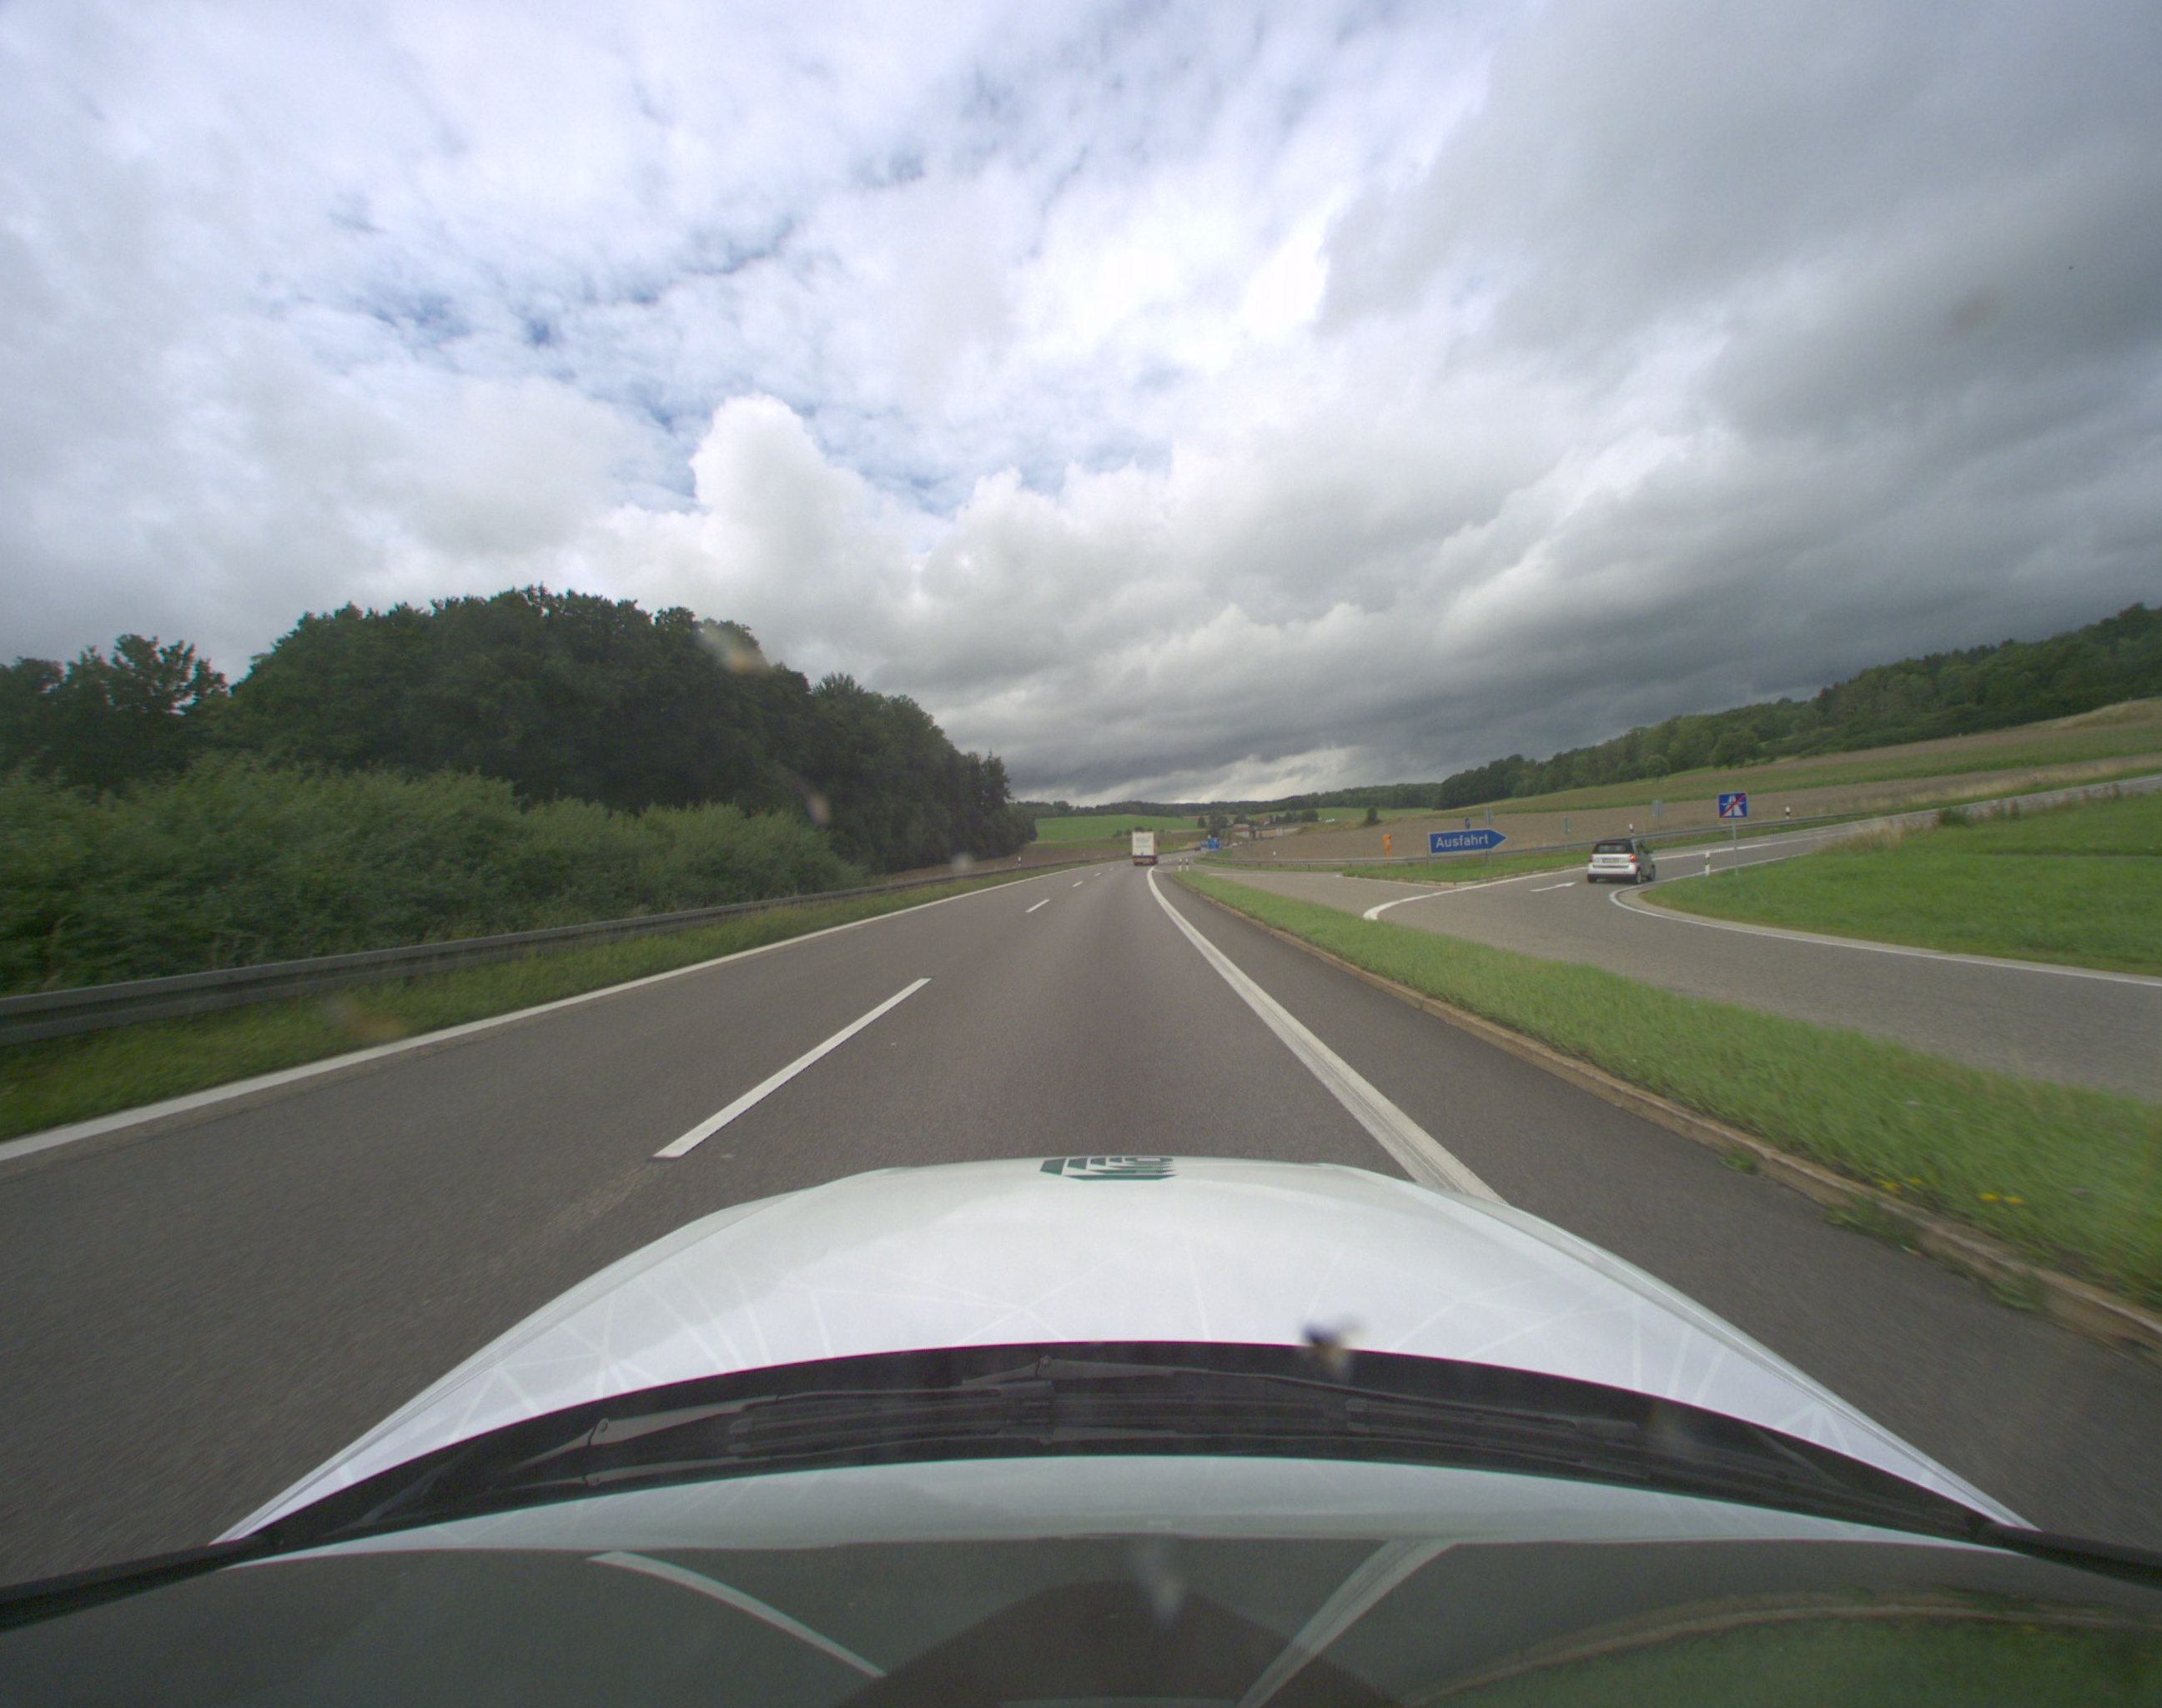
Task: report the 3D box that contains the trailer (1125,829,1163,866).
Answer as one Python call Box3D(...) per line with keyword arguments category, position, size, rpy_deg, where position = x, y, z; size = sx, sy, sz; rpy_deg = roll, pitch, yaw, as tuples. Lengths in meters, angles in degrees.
Box3D(category="trailer", position=(7.874, -0.757, 100.009), size=(3.785, 4.174, 14.839), rpy_deg=(0, 0, 7))

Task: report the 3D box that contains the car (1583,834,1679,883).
Box3D(category="car", position=(19.829, 0.130, 29.311), size=(4.021, 1.552, 1.762), rpy_deg=(-3, 0, -40))

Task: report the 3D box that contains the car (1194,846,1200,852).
Box3D(category="car", position=(36.949, -1.612, 259.543), size=(1.892, 1.795, 4.009), rpy_deg=(-2, -2, 9))
